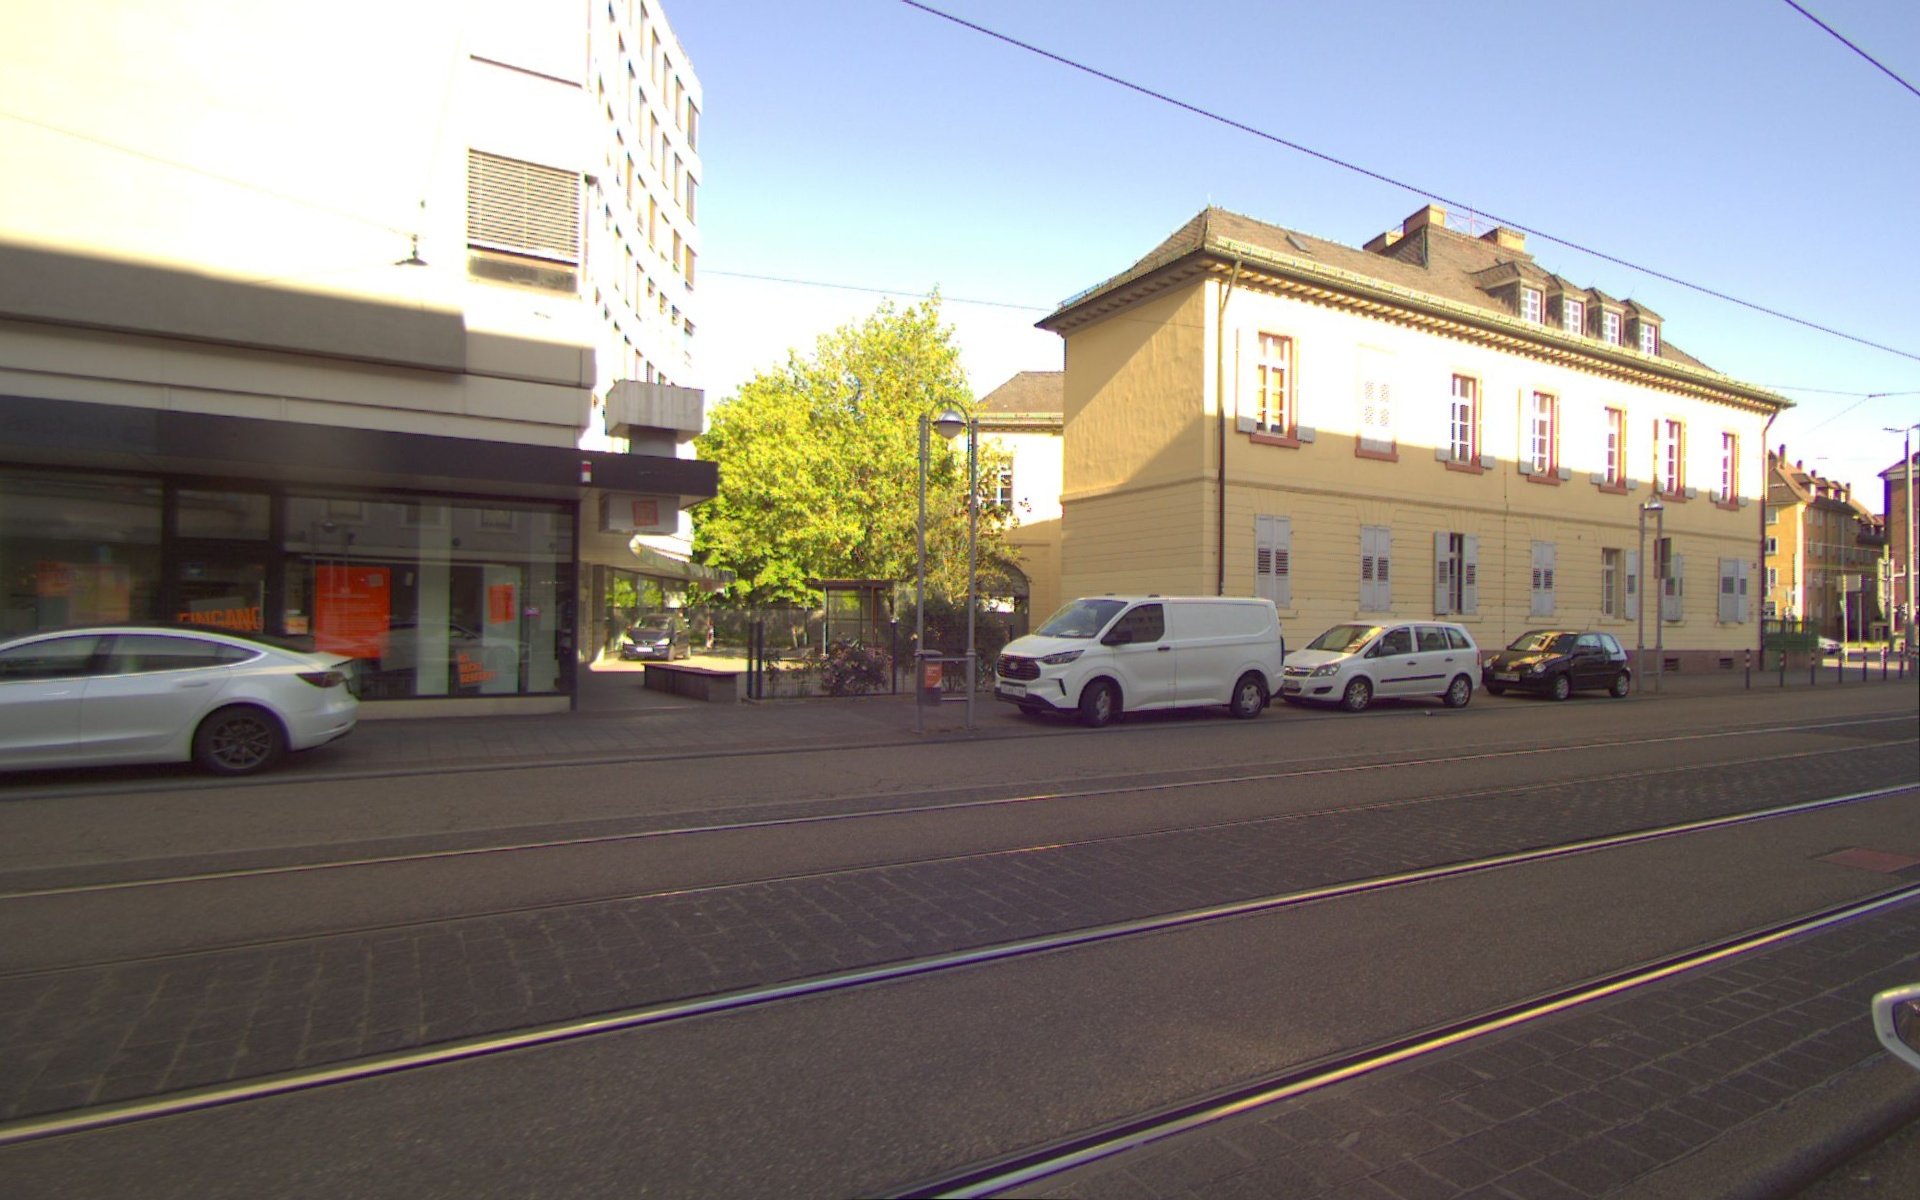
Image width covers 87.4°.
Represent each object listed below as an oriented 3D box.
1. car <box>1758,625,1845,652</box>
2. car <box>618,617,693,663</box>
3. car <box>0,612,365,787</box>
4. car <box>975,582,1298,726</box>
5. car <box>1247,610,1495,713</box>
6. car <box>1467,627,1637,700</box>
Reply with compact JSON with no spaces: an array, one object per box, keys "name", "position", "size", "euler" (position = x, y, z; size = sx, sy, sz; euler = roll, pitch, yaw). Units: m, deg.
[{"name":"car","position":[57.310,2.599,68.551],"size":[1.781,1.577,4.604],"euler":[2,1,-5]},{"name":"car","position":[-10.561,1.367,35.076],"size":[1.791,1.439,3.996],"euler":[2,-2,-7]},{"name":"car","position":[-8.453,0.890,9.714],"size":[4.603,1.440,1.878],"euler":[2,1,-31]},{"name":"car","position":[2.921,0.814,16.252],"size":[5.037,2.001,1.984],"euler":[2,1,-30]},{"name":"car","position":[7.840,1.127,19.081],"size":[4.589,1.708,1.801],"euler":[2,1,-27]},{"name":"car","position":[13.000,1.359,22.034],"size":[3.676,1.419,1.606],"euler":[2,1,-30]}]
